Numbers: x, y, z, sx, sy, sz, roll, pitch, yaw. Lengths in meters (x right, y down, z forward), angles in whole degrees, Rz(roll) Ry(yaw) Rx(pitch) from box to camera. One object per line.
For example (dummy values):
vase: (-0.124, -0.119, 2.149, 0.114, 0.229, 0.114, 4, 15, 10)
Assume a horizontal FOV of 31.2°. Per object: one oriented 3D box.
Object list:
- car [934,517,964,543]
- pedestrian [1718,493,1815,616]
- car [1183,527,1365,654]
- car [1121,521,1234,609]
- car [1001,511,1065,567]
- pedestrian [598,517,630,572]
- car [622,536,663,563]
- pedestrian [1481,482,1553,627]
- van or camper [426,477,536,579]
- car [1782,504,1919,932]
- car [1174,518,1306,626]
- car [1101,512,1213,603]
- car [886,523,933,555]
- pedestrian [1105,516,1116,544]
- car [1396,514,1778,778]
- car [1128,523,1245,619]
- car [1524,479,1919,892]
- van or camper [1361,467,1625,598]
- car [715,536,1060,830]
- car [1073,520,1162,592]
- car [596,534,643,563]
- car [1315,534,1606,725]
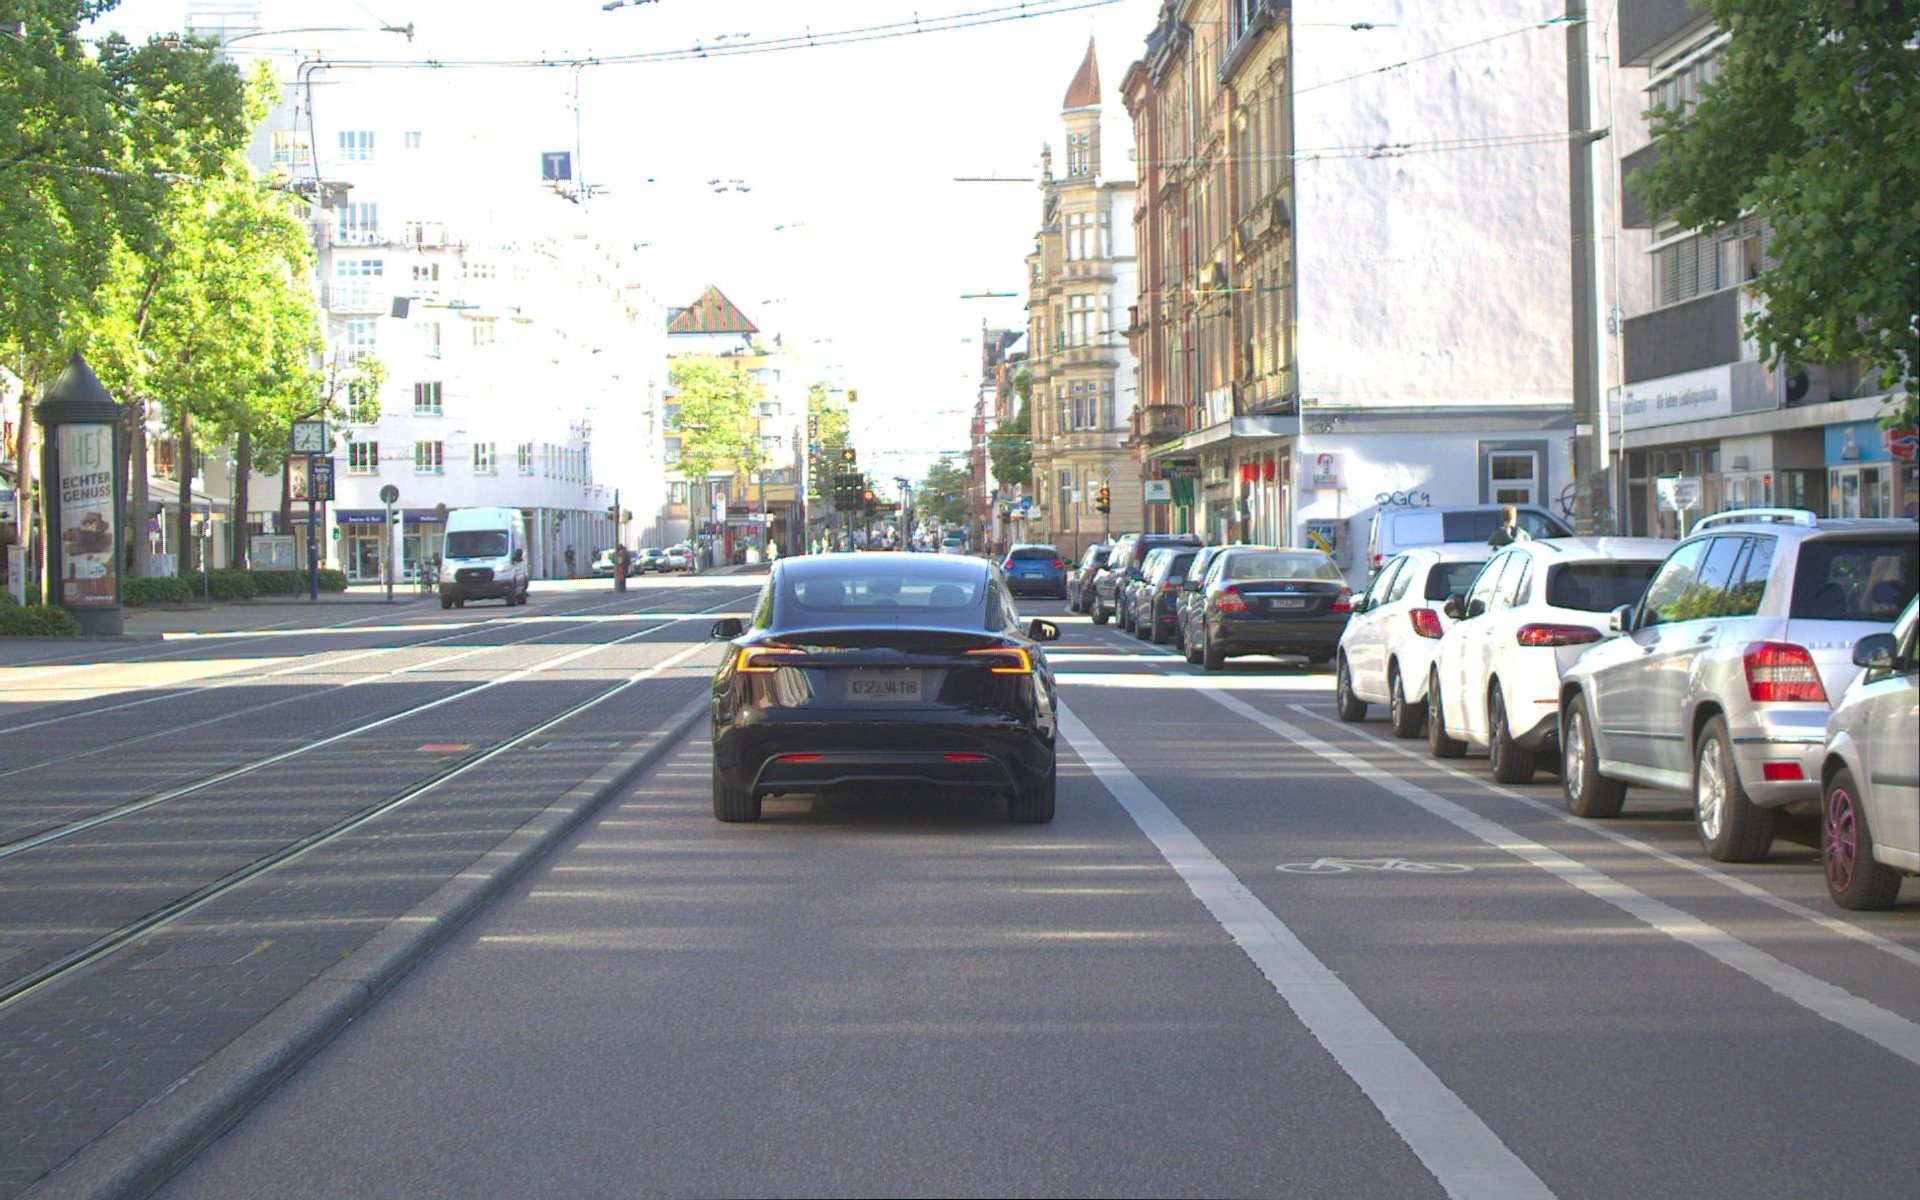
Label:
car: (-0.704, -4.494, 221.493, 1.846, 1.587, 4.000, -2, 2, 0)
pedestrian: (11.678, -0.668, 49.772, 1.155, 1.722, 1.042, -1, 2, 24)
car: (3.758, -0.152, 41.772, 1.710, 1.452, 4.551, 0, 1, -1)
car: (3.670, -0.602, 58.558, 1.578, 1.439, 3.914, 0, 1, -2)
car: (1.939, -1.646, 92.160, 1.593, 1.428, 3.686, -2, 1, 0)
pedestrian: (-10.846, -1.733, 107.737, 0.845, 1.689, 0.796, 1, 2, 7)
car: (-18.385, -2.921, 199.288, 1.993, 1.490, 4.000, -2, 1, -1)
pedestrian: (7.085, -0.580, 43.764, 0.721, 1.805, 0.889, -2, 1, -1)
van or camper: (-13.118, -1.990, 94.601, 2.139, 2.645, 6.881, -2, 1, -1)
car: (4.447, 0.458, 12.668, 1.713, 1.585, 4.066, 0, 2, -2)
car: (3.871, -0.394, 47.902, 1.578, 1.442, 3.309, 0, 1, 0)
car: (3.617, -0.784, 63.586, 1.829, 1.622, 4.095, 0, 1, 0)
car: (-2.463, -2.928, 166.175, 1.993, 1.520, 4.001, 0, 1, -5)
pedestrian: (6.684, -3.113, 152.421, 0.441, 1.217, 0.389, -1, 1, -1)
car: (4.044, 0.220, 22.861, 1.541, 1.564, 4.444, 0, 2, -2)
car: (3.490, -0.457, 53.439, 1.461, 1.427, 3.814, 0, 1, -2)
car: (4.369, 0.297, 17.593, 1.925, 1.828, 4.713, 0, 2, -3)
van or camper: (10.027, -1.280, 65.002, 4.644, 2.129, 1.987, -4, 1, 4)
car: (-0.421, 0.381, 19.004, 1.719, 1.400, 3.710, 0, 2, -2)
car: (3.377, -0.962, 74.116, 1.715, 1.467, 3.720, -2, 1, 0)
car: (-17.194, -2.619, 173.924, 1.993, 1.363, 4.000, -2, 1, -1)
car: (4.062, 0.192, 28.465, 1.601, 1.438, 3.886, 1, 1, -3)
